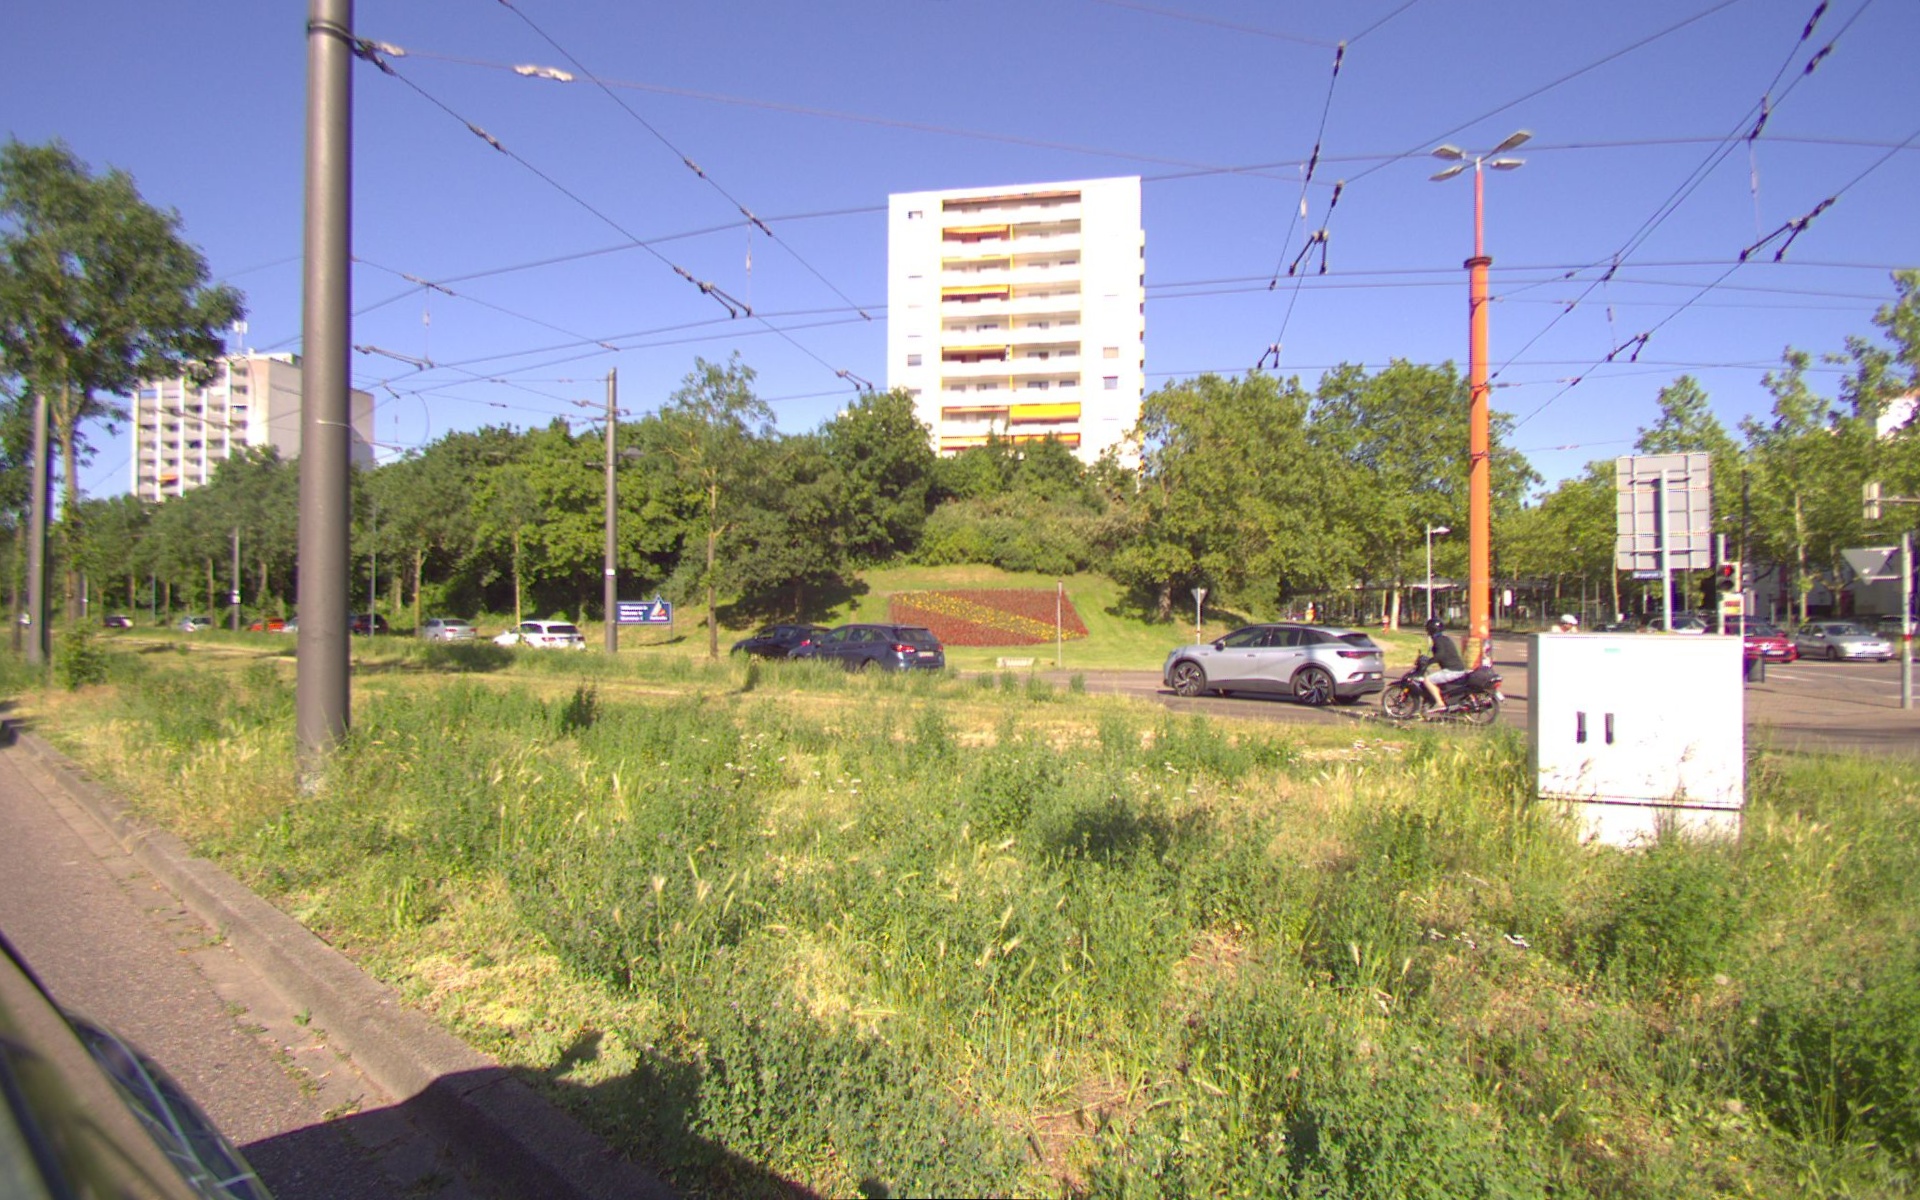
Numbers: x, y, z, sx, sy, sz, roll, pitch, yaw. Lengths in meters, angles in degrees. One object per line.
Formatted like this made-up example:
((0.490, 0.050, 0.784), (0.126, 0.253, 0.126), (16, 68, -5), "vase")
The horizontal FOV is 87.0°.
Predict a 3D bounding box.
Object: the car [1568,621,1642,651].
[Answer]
((31.557, 1.728, 49.616), (1.718, 1.332, 3.985), (-1, 0, 11), "car")

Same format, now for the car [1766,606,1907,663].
((31.828, 1.202, 36.929), (1.979, 1.915, 4.259), (-1, 0, 11), "car")

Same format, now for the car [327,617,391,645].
((-35.127, 1.772, 59.090), (4.631, 1.492, 1.972), (-1, 0, 43), "car")

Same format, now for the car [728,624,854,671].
((-5.398, 1.467, 32.103), (4.030, 1.352, 1.841), (-1, -2, 42), "car")

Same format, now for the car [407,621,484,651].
((-26.401, 1.835, 51.839), (4.693, 1.443, 1.972), (-1, -2, 42), "car")

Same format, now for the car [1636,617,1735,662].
((30.694, 1.637, 42.963), (1.893, 1.763, 3.985), (-1, 0, 11), "car")

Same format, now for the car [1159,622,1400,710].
((6.549, 1.277, 21.040), (4.436, 1.613, 1.819), (-1, -2, 41), "car")

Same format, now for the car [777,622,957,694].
((-2.357, 1.352, 24.798), (4.465, 1.606, 1.971), (-1, -2, 44), "car")

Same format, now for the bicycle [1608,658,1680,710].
((13.326, 1.618, 19.754), (0.363, 0.889, 1.625), (-1, 0, 3), "bicycle")

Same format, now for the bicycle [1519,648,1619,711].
((12.152, 1.559, 20.286), (0.467, 1.089, 2.362), (-1, 0, -3), "bicycle")

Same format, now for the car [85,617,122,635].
((-74.386, 2.245, 87.848), (4.992, 1.420, 1.971), (-1, 0, 44), "car")

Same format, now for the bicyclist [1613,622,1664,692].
((13.319, 1.115, 19.881), (0.541, 1.333, 0.700), (-1, 0, 3), "bicyclist")

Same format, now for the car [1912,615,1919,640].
((64.133, 1.769, 65.009), (1.864, 1.608, 4.010), (0, 0, -34), "car")

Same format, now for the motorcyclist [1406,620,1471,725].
((7.659, 1.132, 16.194), (0.825, 1.611, 0.641), (0, 0, -41), "motorcyclist")

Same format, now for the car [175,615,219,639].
((-52.902, 1.842, 70.146), (3.757, 1.620, 1.744), (-1, -2, 42), "car")

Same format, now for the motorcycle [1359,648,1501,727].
((7.547, 1.377, 16.356), (0.416, 1.140, 2.098), (0, 0, -41), "motorcycle")

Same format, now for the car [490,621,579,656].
((-18.686, 1.645, 44.375), (4.400, 1.384, 1.972), (-1, 0, 43), "car")

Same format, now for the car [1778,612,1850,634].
((67.060, 1.787, 79.509), (1.864, 1.608, 4.010), (0, 0, -34), "car")

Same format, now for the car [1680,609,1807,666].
((28.668, 1.325, 37.208), (1.979, 1.915, 4.259), (-1, 0, 11), "car")

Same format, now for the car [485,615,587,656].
((-15.729, 1.281, 37.416), (4.642, 1.433, 1.685), (-1, -2, 42), "car")

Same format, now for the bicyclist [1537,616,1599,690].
((12.136, 1.041, 20.213), (0.741, 1.441, 0.758), (-1, 0, -3), "bicyclist")

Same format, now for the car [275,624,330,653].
((-36.097, 2.083, 55.518), (4.184, 1.484, 1.571), (-1, -3, 44), "car")

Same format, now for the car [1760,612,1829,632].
((68.286, 1.786, 82.834), (1.864, 1.608, 4.010), (0, 0, -34), "car")

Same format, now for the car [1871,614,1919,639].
((64.813, 1.774, 68.715), (1.864, 1.608, 4.010), (0, 0, -34), "car")

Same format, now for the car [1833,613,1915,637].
((65.523, 1.779, 72.615), (1.864, 1.608, 4.010), (0, 0, -34), "car")

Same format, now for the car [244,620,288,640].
((-48.590, 2.090, 70.828), (4.177, 1.307, 1.639), (-1, 0, 43), "car")
